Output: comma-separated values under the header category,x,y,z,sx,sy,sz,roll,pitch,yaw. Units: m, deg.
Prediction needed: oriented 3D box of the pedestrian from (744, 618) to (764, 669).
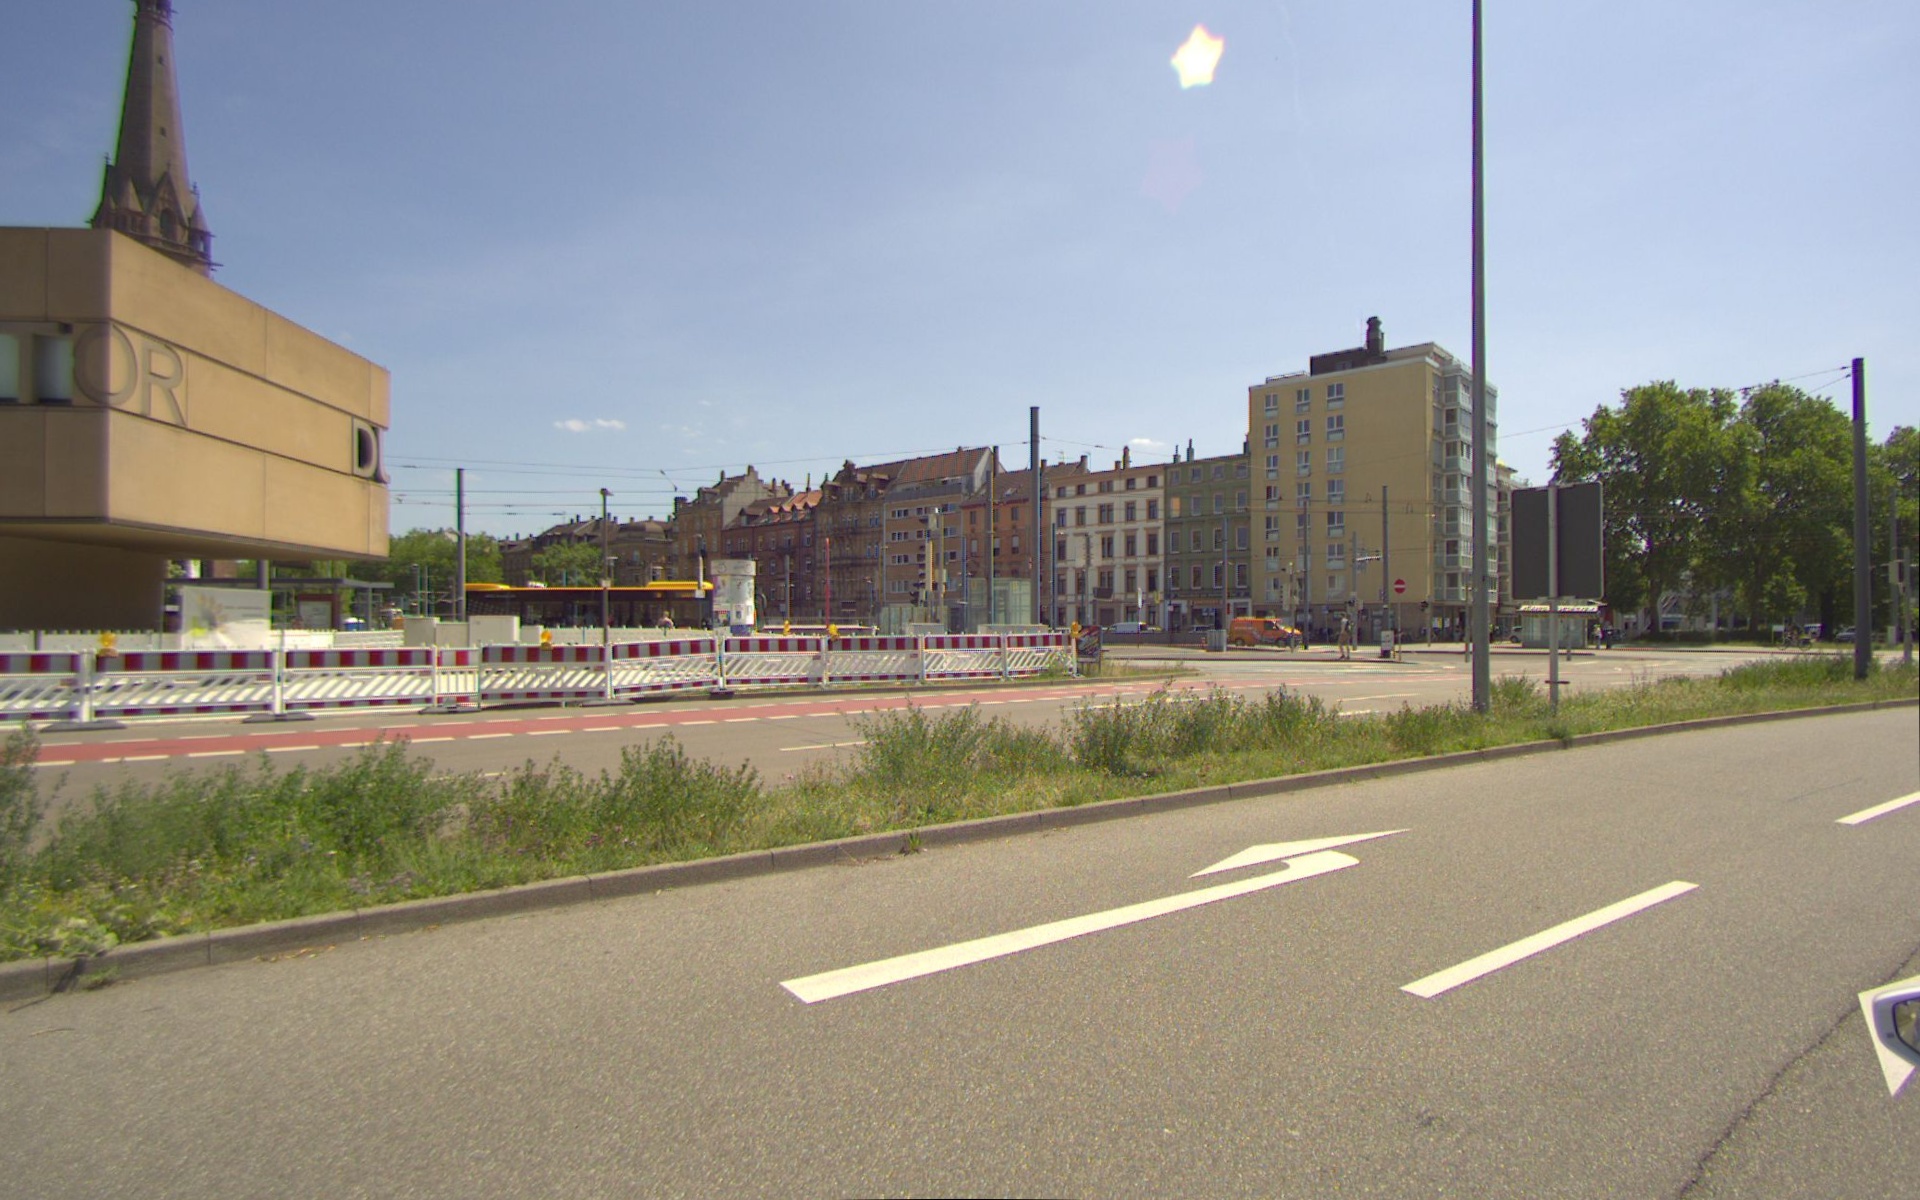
category,x,y,z,sx,sy,sz,roll,pitch,yaw
pedestrian,-8.372,1.763,40.808,0.651,2.022,0.611,-1,1,0

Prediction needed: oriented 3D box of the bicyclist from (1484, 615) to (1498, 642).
category,x,y,z,sx,sy,sz,roll,pitch,yaw
bicyclist,42.680,2.318,80.748,0.724,2.134,0.777,-1,1,12

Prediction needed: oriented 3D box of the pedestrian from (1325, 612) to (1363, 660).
category,x,y,z,sx,sy,sz,roll,pitch,yaw
pedestrian,16.162,1.514,42.258,0.894,1.959,1.171,-2,1,-36

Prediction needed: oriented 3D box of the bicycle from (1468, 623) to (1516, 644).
category,x,y,z,sx,sy,sz,roll,pitch,yaw
bicycle,42.773,2.701,80.741,3.257,1.617,0.819,-2,0,13

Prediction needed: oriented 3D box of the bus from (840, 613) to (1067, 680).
category,x,y,z,sx,sy,sz,roll,pitch,yaw
bus,-0.013,1.028,23.667,5.766,1.266,1.234,-1,1,-38

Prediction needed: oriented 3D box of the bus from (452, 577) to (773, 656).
category,x,y,z,sx,sy,sz,roll,pitch,yaw
bus,-14.097,0.700,41.815,12.018,3.081,3.737,0,-1,-4

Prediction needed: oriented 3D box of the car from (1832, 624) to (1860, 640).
category,x,y,z,sx,sy,sz,roll,pitch,yaw
car,89.171,3.209,101.102,3.404,1.528,1.415,-1,1,-36

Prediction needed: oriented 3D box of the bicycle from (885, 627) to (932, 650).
category,x,y,z,sx,sy,sz,roll,pitch,yaw
bicycle,-3.412,2.535,66.318,3.412,1.466,0.874,-1,1,39

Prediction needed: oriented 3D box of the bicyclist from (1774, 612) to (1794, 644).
category,x,y,z,sx,sy,sz,roll,pitch,yaw
bicyclist,51.602,1.756,62.897,0.620,1.992,0.839,-2,1,-37

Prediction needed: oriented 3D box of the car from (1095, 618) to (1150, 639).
category,x,y,z,sx,sy,sz,roll,pitch,yaw
car,13.744,2.417,84.996,4.256,1.649,1.805,-1,1,41

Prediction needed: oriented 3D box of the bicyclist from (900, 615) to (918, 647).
category,x,y,z,sx,sy,sz,roll,pitch,yaw
bicyclist,-3.382,2.037,66.275,0.784,2.040,0.859,-1,1,38

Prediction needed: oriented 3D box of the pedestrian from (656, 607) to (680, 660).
category,x,y,z,sx,sy,sz,roll,pitch,yaw
pedestrian,-11.402,1.311,39.252,0.650,2.022,0.611,-1,1,10

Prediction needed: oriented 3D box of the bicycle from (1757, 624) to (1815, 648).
category,x,y,z,sx,sy,sz,roll,pitch,yaw
bicycle,51.648,2.225,62.845,0.664,1.404,2.755,-2,1,-37

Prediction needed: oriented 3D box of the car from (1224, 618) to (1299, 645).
category,x,y,z,sx,sy,sz,roll,pitch,yaw
car,20.057,2.070,66.969,1.665,1.635,4.577,-2,1,-44

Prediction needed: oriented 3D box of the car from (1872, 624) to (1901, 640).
category,x,y,z,sx,sy,sz,roll,pitch,yaw
car,90.418,3.110,98.000,3.387,1.437,1.499,-1,1,-36

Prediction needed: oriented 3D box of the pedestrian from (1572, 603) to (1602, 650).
category,x,y,z,sx,sy,sz,roll,pitch,yaw
pedestrian,41.135,1.711,65.919,1.322,2.977,1.207,-2,1,-33
